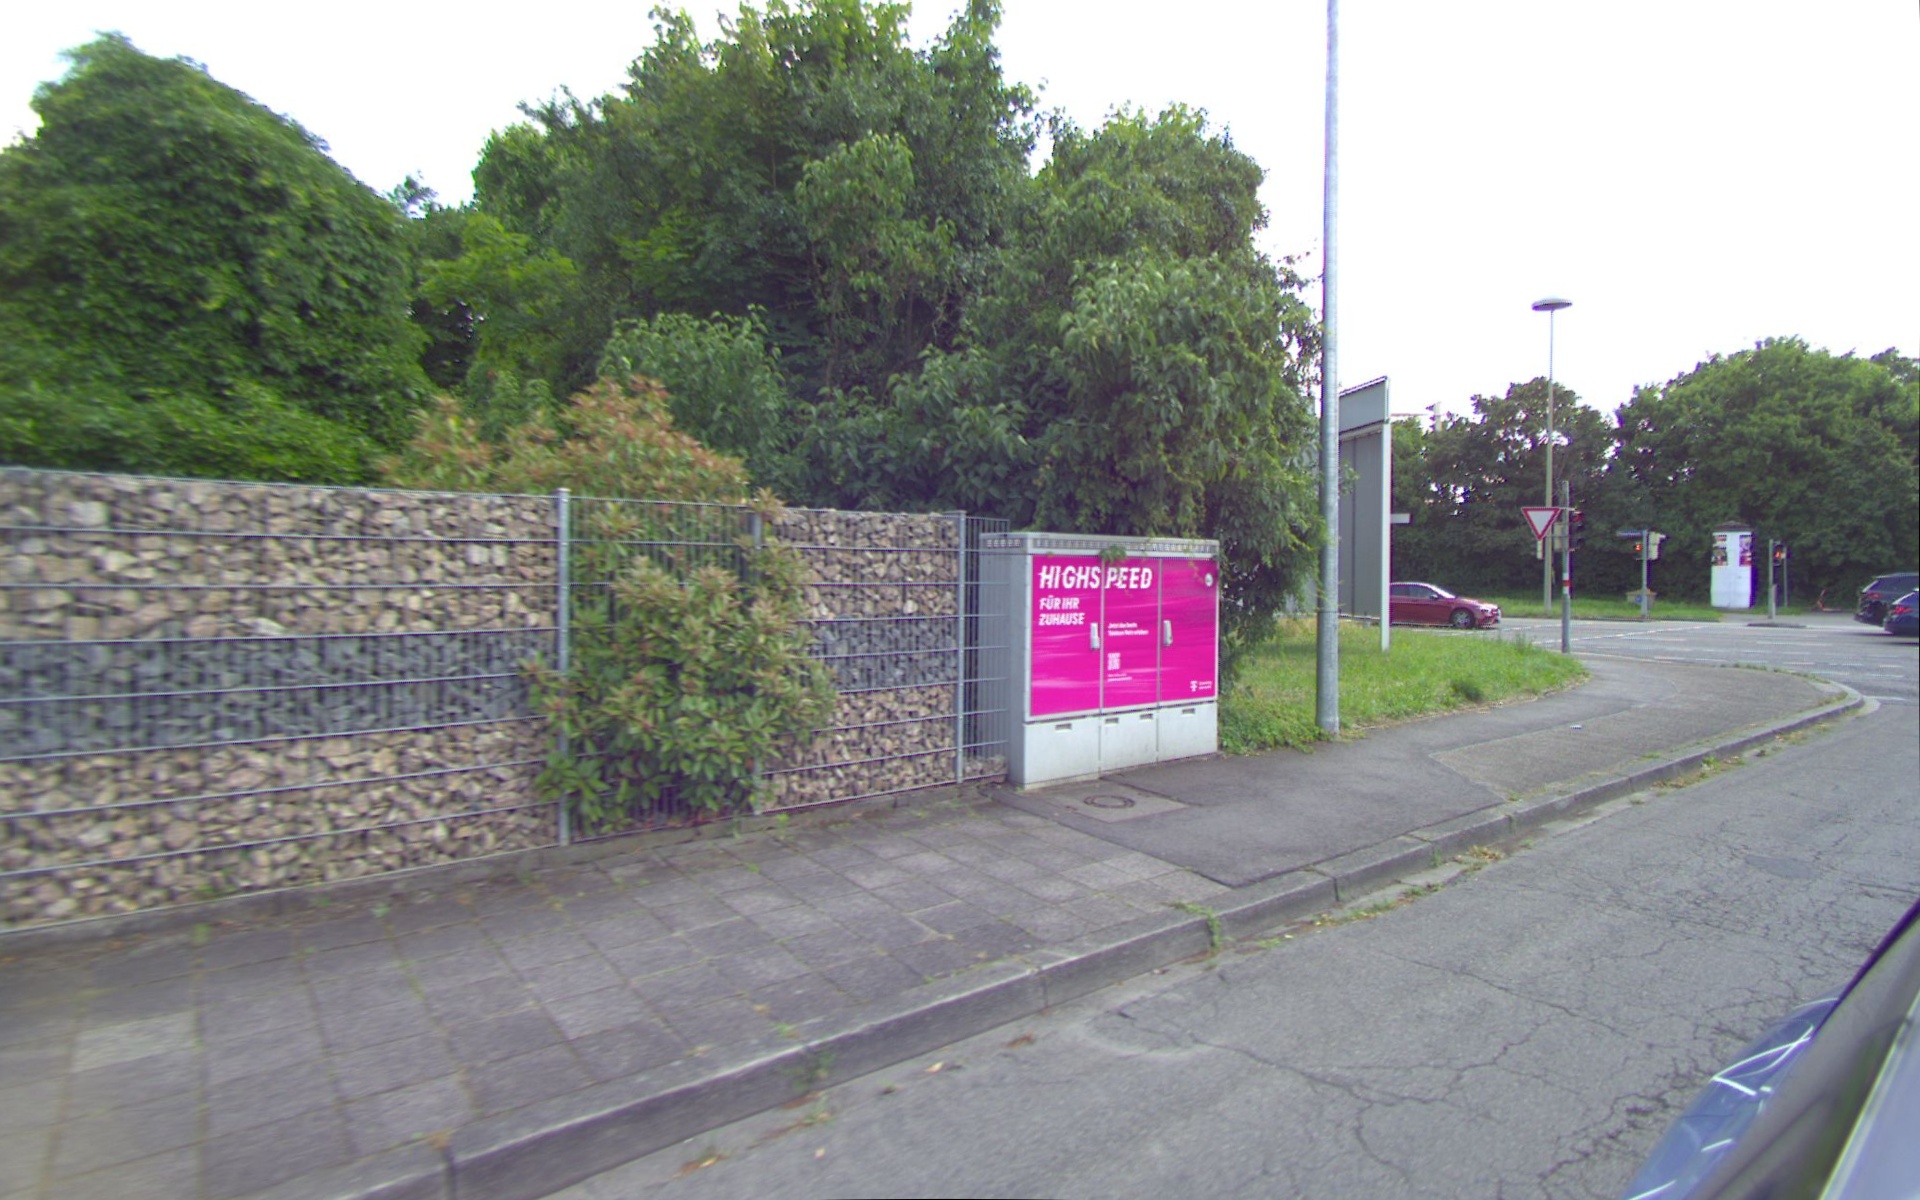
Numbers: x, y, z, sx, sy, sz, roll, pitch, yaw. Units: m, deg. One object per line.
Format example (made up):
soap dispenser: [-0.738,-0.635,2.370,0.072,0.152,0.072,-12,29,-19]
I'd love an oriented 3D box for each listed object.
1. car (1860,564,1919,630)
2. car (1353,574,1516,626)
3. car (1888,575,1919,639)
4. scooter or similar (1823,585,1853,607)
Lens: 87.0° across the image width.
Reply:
car: [27.568,-0.074,27.513,4.529,1.767,1.793,2,3,40]
car: [15.254,-0.049,32.686,4.514,1.480,1.705,2,4,40]
car: [25.599,0.212,24.222,4.850,1.515,1.777,2,4,40]
scooter or similar: [41.240,-0.195,47.547,0.292,0.953,1.034,-3,4,-43]
